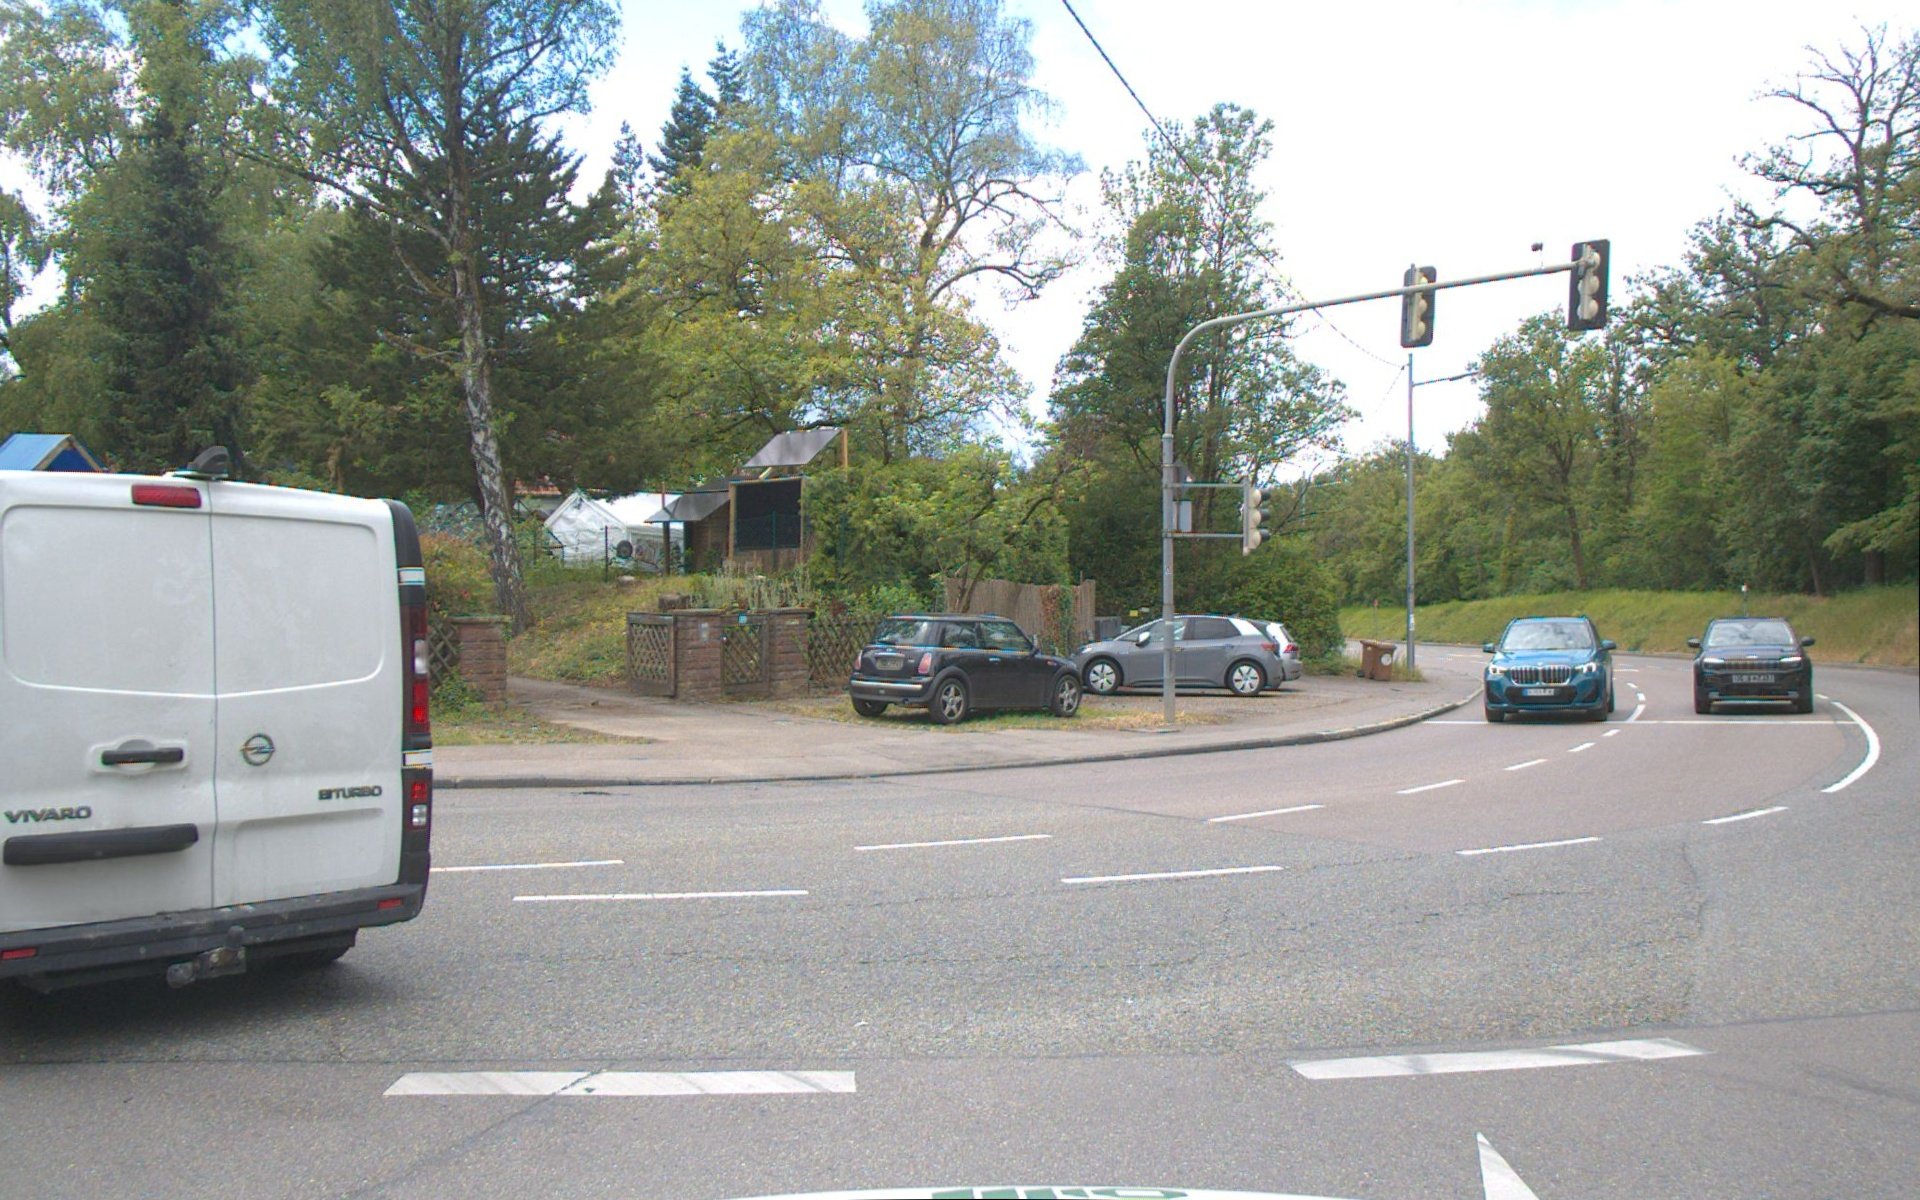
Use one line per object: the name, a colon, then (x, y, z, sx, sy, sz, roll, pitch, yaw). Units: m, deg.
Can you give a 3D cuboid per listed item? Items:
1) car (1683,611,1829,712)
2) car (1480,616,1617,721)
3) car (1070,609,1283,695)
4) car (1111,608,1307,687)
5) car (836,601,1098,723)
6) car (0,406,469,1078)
car: (13.358, 0.992, 27.964, 1.778, 1.533, 4.001, -2, -1, 20)
car: (9.690, 1.075, 27.063, 1.819, 1.533, 3.999, -2, -1, 23)
car: (4.200, 0.982, 32.176, 3.999, 1.580, 1.856, 0, 0, 8)
car: (5.244, 0.976, 35.027, 3.999, 1.580, 1.856, 0, 0, 8)
car: (0.154, 0.811, 22.849, 1.673, 1.474, 3.521, 3, 1, 42)
car: (-4.219, 0.395, 7.165, 4.531, 2.089, 1.912, 1, 1, 41)
